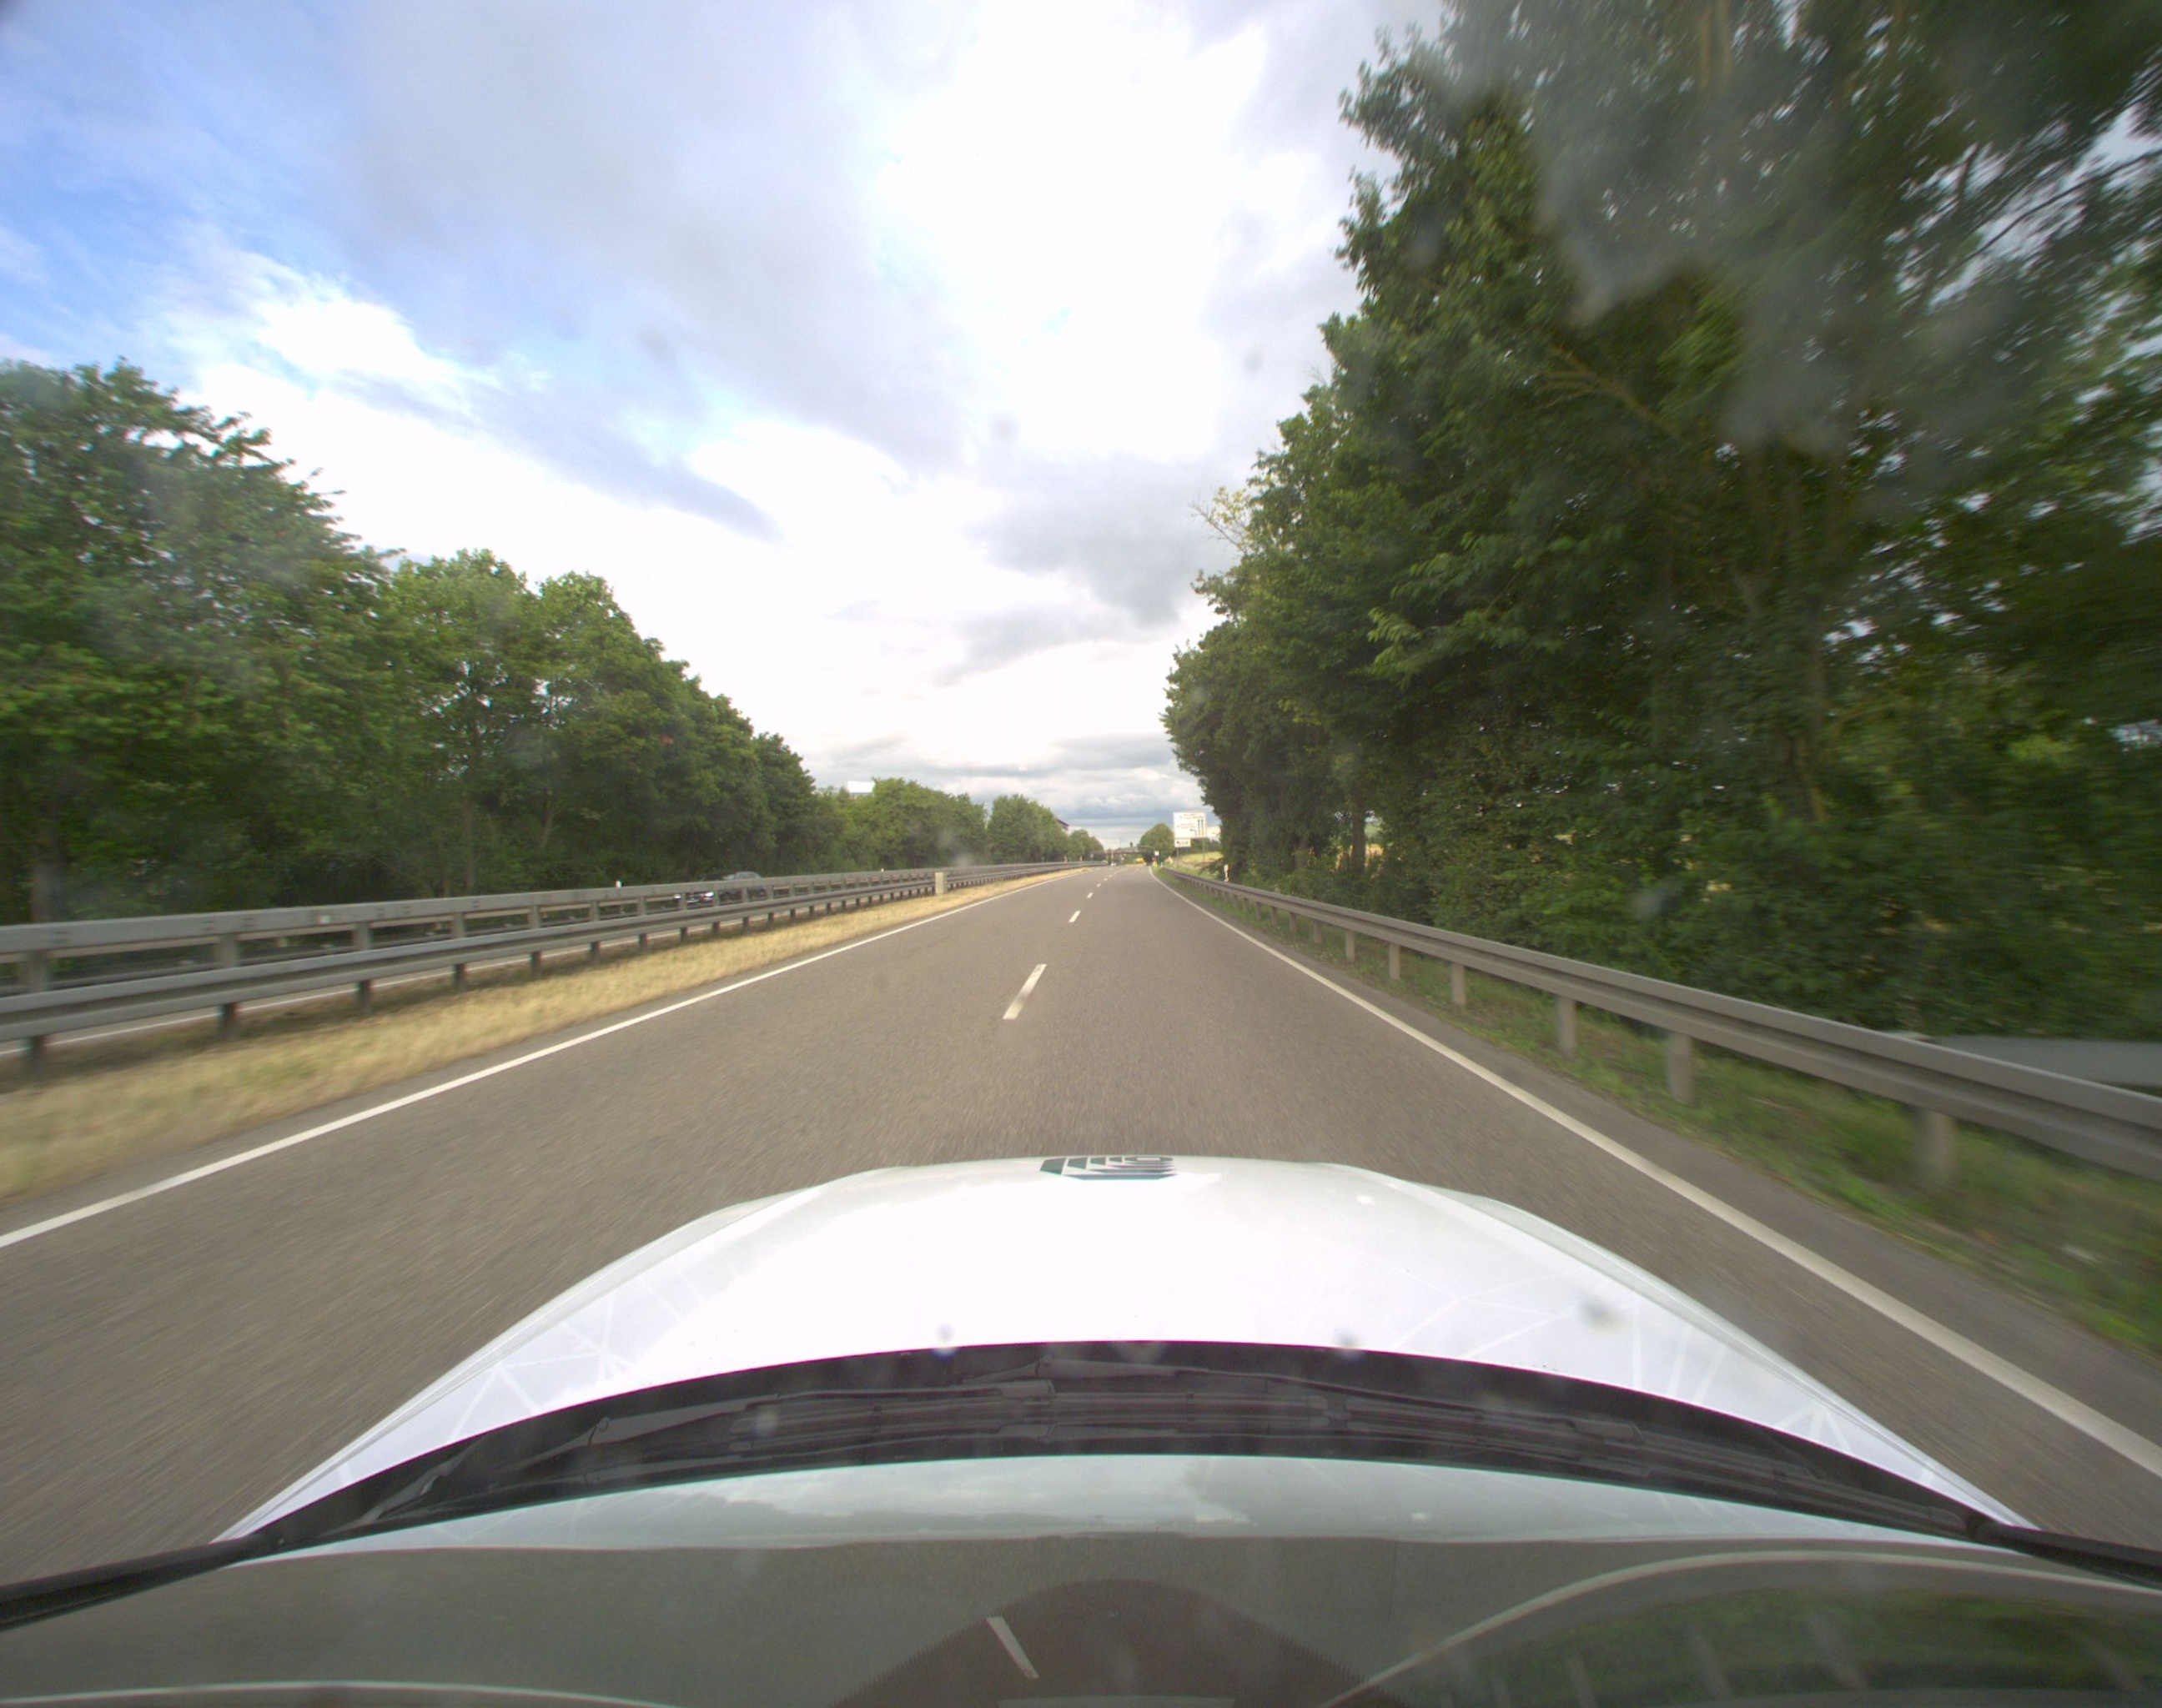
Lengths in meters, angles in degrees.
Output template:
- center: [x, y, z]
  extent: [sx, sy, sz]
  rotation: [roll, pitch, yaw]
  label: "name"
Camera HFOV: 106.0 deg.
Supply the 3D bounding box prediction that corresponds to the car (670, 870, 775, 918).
- center: [-13.629, 1.478, 31.289]
  extent: [1.817, 1.544, 4.589]
  rotation: [-3, 0, 2]
  label: "car"
